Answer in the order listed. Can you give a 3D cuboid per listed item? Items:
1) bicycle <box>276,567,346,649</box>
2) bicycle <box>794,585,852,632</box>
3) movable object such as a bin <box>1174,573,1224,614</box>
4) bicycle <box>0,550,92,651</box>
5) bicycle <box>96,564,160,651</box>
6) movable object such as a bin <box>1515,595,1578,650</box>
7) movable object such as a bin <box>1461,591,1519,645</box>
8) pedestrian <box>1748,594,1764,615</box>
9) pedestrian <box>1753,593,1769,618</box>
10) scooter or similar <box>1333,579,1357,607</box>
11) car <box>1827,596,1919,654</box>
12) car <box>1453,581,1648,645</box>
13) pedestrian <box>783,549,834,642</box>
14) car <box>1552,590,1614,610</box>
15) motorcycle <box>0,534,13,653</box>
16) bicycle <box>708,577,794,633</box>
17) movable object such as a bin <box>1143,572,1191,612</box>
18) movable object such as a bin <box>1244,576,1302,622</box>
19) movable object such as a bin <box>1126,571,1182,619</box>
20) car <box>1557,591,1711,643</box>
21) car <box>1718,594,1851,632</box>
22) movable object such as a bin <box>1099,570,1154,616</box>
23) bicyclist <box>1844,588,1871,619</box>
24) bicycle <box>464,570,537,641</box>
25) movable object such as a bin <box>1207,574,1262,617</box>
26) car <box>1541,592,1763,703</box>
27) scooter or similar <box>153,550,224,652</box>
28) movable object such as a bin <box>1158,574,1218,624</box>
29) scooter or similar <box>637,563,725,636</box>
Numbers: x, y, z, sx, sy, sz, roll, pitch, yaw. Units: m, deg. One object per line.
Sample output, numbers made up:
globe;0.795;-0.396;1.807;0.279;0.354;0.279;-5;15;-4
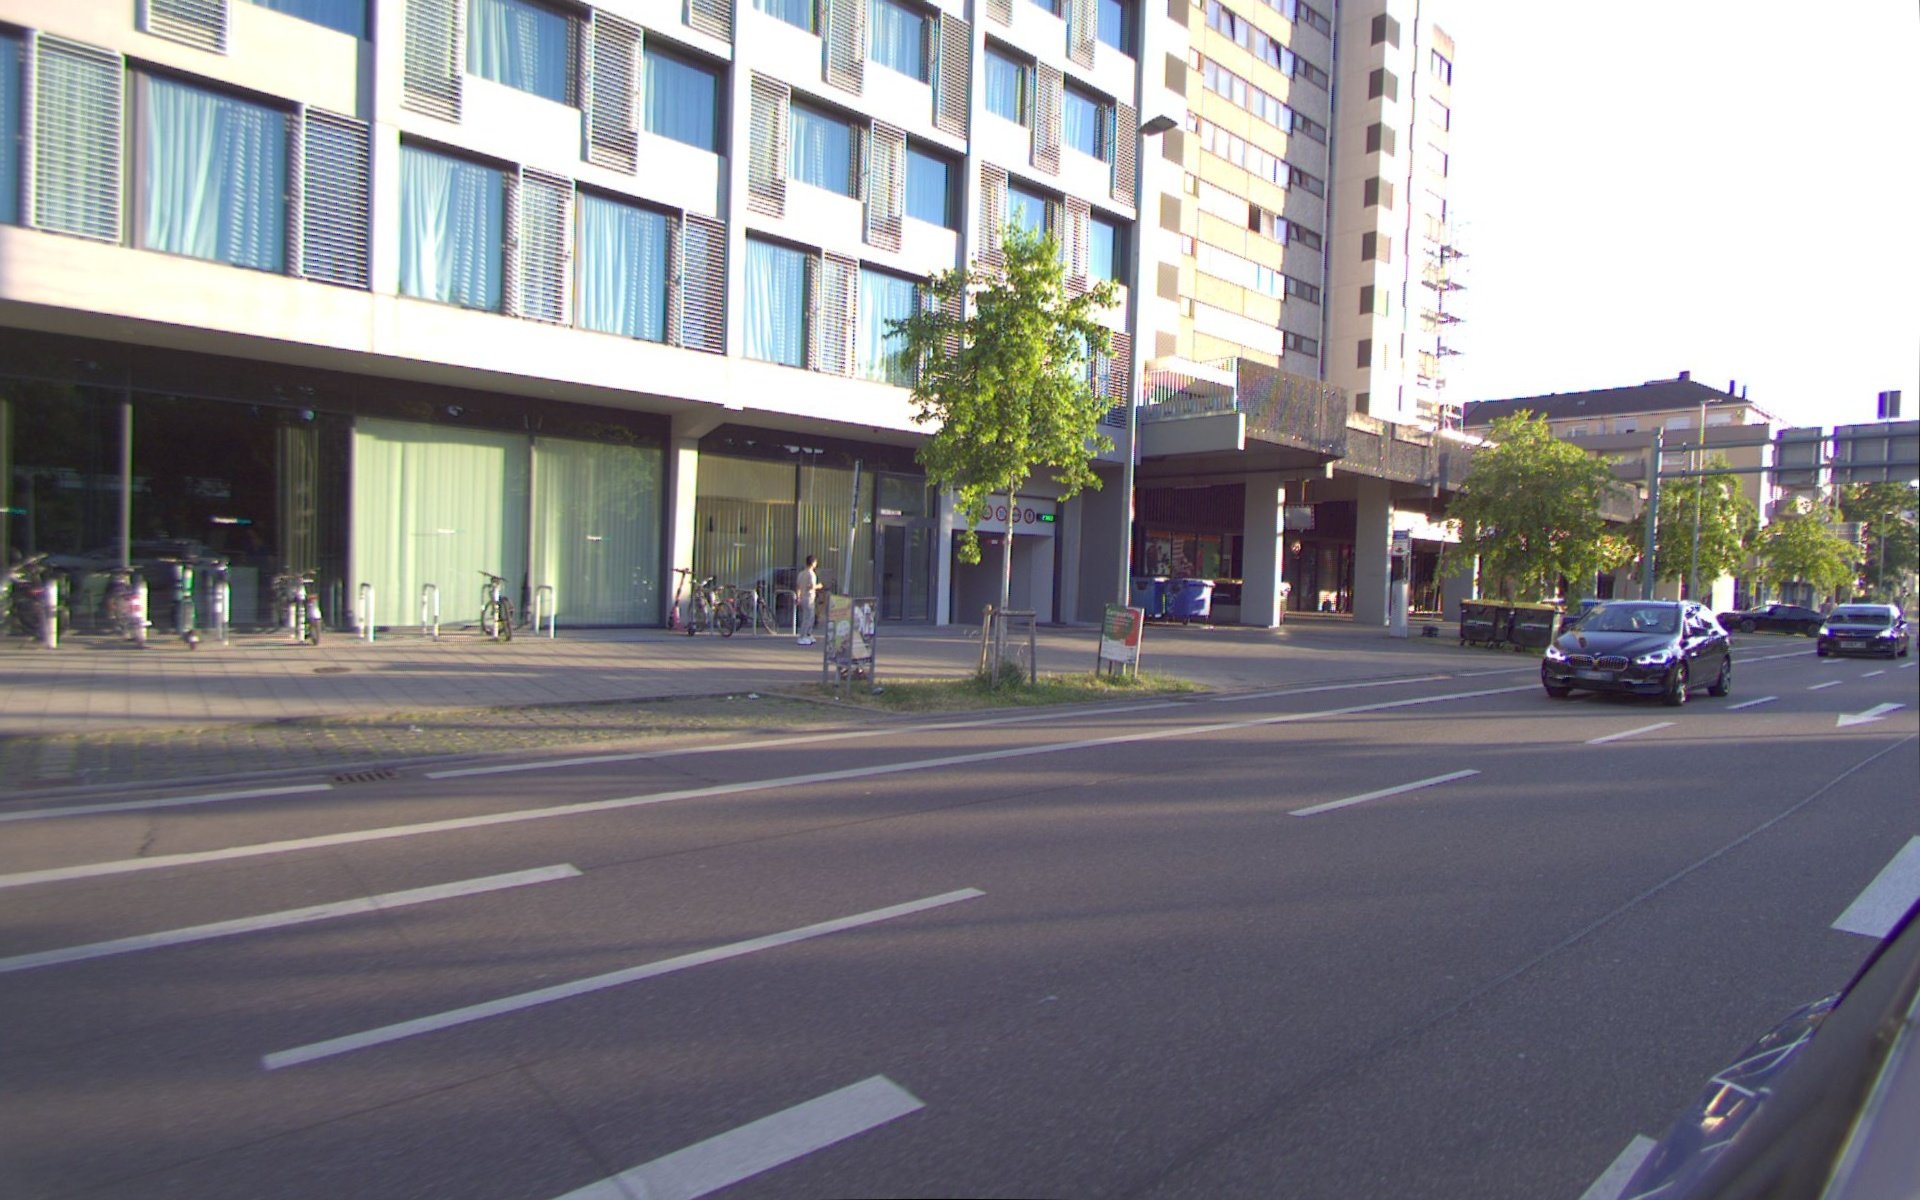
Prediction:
bicycle;-9.487;0.085;14.765;0.556;1.022;1.889;1;4;-42
bicycle;-2.835;0.163;20.852;0.449;0.902;1.424;1;2;-40
movable object such as a bin;8.044;-0.218;34.103;1.105;1.329;1.184;1;2;-42
bicycle;-11.803;-0.019;13.061;1.604;1.168;0.604;5;3;38
bicycle;-11.052;0.075;13.424;0.541;0.998;1.702;1;3;-43
movable object such as a bin;15.402;0.570;26.584;1.085;1.317;1.340;6;4;43
movable object such as a bin;14.435;0.477;27.542;1.015;1.363;1.142;6;4;45
pedestrian;62.203;0.364;79.091;0.753;1.635;0.821;0;2;-39
pedestrian;61.964;0.450;78.252;0.534;1.882;0.839;0;2;-40
scooter or similar;16.447;-0.283;43.233;0.400;1.176;1.804;0;-1;40
car;28.093;0.730;30.851;4.289;1.619;1.827;1;0;-40
car;17.801;0.356;30.732;4.596;1.526;1.934;4;3;11
pedestrian;-2.759;-0.089;18.404;0.576;1.638;0.633;5;3;44
car;52.947;-0.030;86.116;1.630;1.457;4.218;-4;5;-44
motorcycle;-12.385;-0.140;12.464;2.107;1.403;0.663;5;2;36
bicycle;-4.182;0.083;20.146;2.016;0.969;0.611;5;3;44
movable object such as a bin;7.175;-0.266;35.022;1.069;1.329;1.184;1;2;-42
movable object such as a bin;9.930;-0.049;32.114;1.245;1.338;1.184;1;4;-42
movable object such as a bin;5.761;-0.152;30.040;1.181;1.346;1.076;1;2;-41
car;23.139;0.559;34.878;3.930;1.433;1.746;4;3;12
car;39.331;0.595;48.401;4.532;1.471;1.810;4;2;9
movable object such as a bin;5.083;-0.211;30.916;1.261;1.346;1.035;1;2;-41
bicyclist;51.753;0.218;58.378;0.810;1.713;0.954;3;2;22
bicycle;-7.525;0.070;16.542;0.541;0.998;1.702;1;3;-43
movable object such as a bin;8.958;-0.144;33.062;1.282;1.315;1.184;1;2;-42
car;11.306;0.669;16.399;4.707;1.538;1.824;1;0;-41
scooter or similar;-10.311;-0.009;13.514;0.598;1.248;1.269;1;3;-44
movable object such as a bin;6.586;-0.037;29.251;1.260;1.346;1.107;1;3;-41
scooter or similar;-5.294;-0.040;19.067;0.610;1.197;2.378;1;3;-40
